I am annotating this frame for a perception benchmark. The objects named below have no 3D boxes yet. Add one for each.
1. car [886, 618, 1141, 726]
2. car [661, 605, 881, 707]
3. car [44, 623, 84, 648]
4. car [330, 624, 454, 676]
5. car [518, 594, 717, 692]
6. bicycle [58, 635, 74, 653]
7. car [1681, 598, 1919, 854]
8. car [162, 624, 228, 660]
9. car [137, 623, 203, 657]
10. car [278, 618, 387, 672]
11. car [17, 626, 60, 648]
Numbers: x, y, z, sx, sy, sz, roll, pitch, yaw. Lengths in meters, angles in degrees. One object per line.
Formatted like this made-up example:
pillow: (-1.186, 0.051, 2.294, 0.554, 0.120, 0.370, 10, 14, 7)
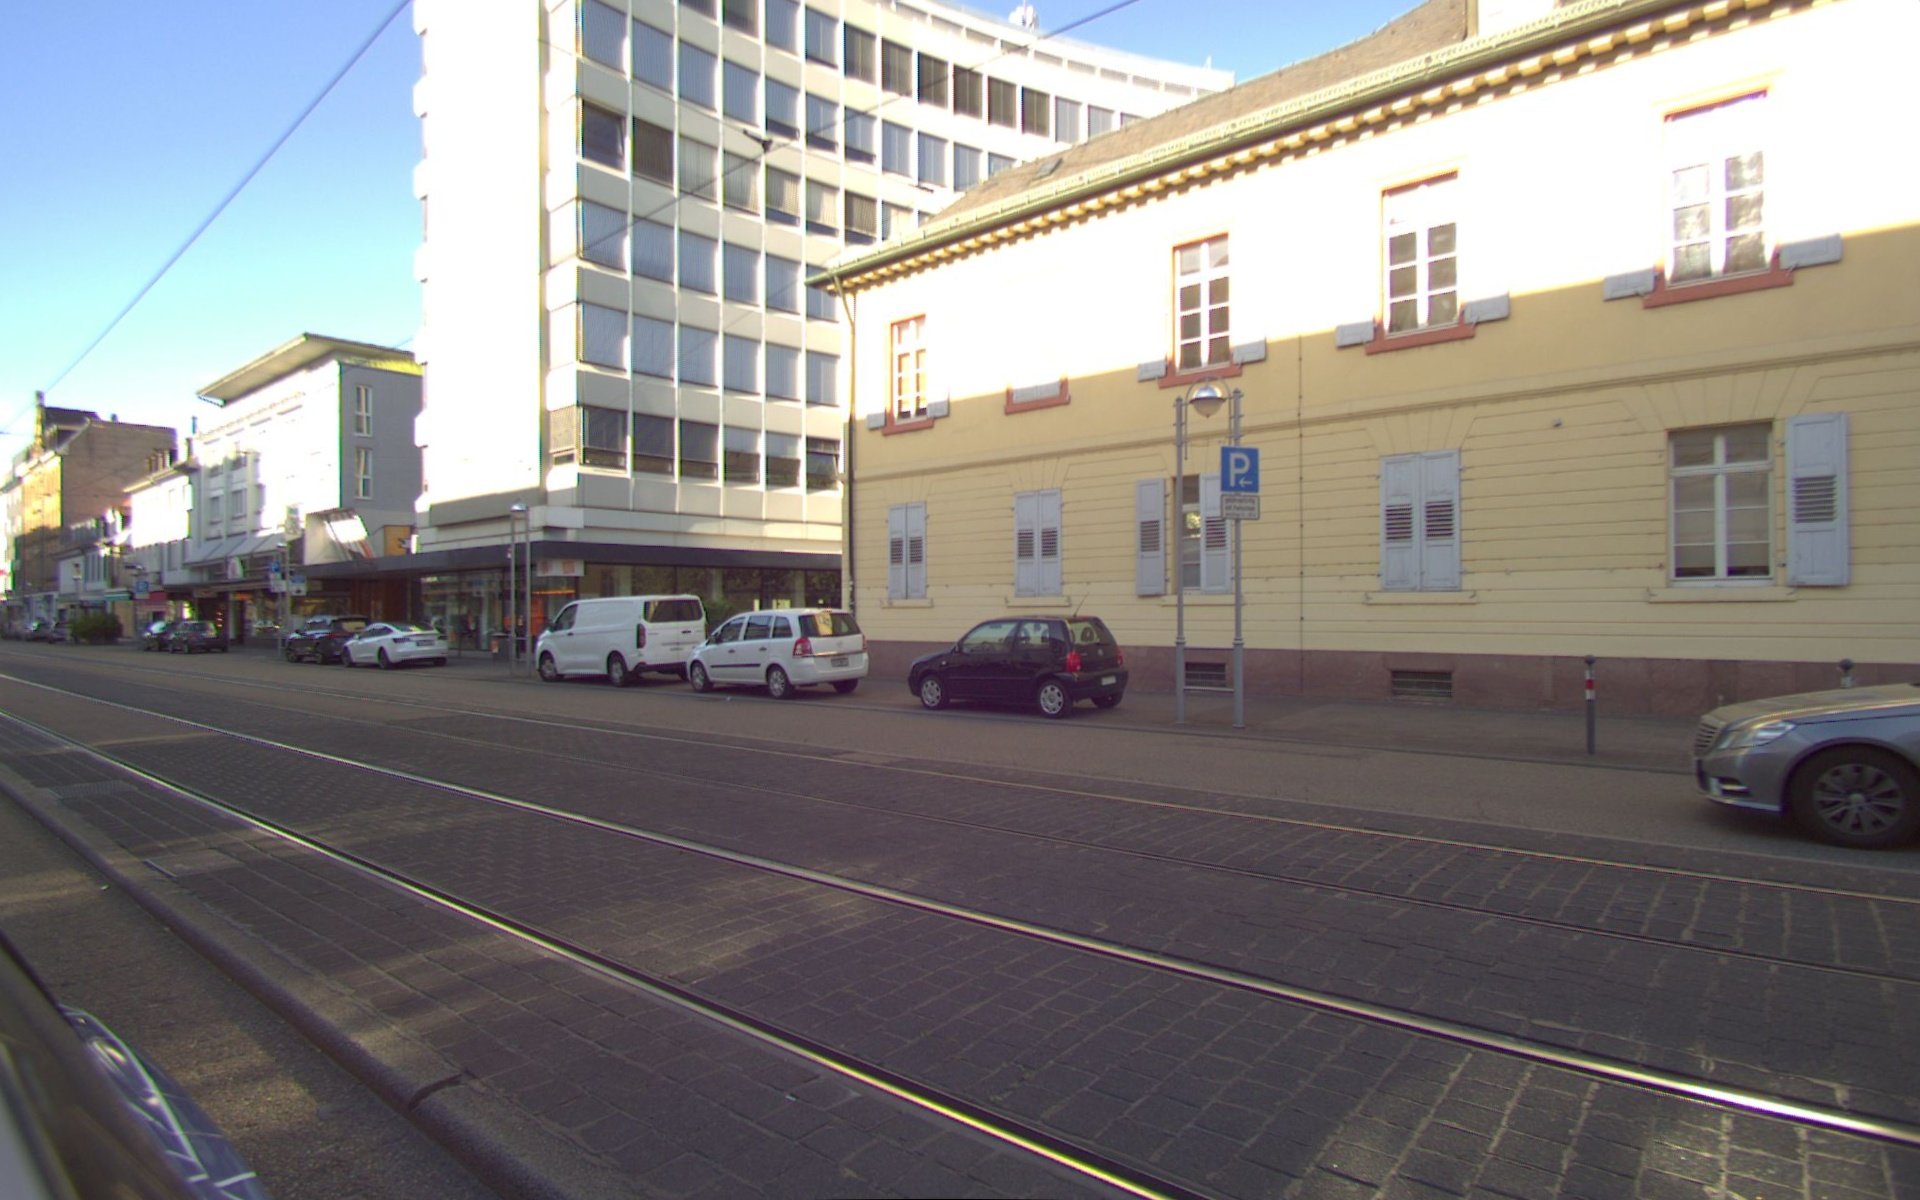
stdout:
car: (0.753, 1.015, 15.615, 3.717, 1.411, 1.598, -1, 1, 40)
car: (-3.779, 0.985, 19.680, 4.649, 1.698, 1.788, -1, 1, 43)
car: (-61.908, 2.466, 69.928, 2.889, 1.616, 1.680, -1, 1, 40)
car: (-18.095, 1.532, 32.174, 4.652, 1.431, 1.870, -1, 1, 39)
car: (-8.018, 0.926, 23.424, 5.092, 1.990, 1.973, -1, 1, 40)
bicycle: (-57.073, 2.818, 64.607, 1.715, 1.098, 0.513, -1, 1, 41)
car: (7.331, 0.760, 5.984, 4.918, 1.507, 1.864, -1, -3, 35)
car: (-35.664, 1.911, 47.171, 3.584, 1.535, 1.586, -1, 1, 38)
car: (-40.084, 1.986, 51.326, 4.849, 1.535, 1.719, -1, 1, 41)
car: (-22.142, 1.512, 35.626, 4.653, 1.691, 1.958, -1, 1, 41)
car: (-69.204, 2.779, 75.995, 4.759, 1.525, 1.799, -1, 0, 41)
